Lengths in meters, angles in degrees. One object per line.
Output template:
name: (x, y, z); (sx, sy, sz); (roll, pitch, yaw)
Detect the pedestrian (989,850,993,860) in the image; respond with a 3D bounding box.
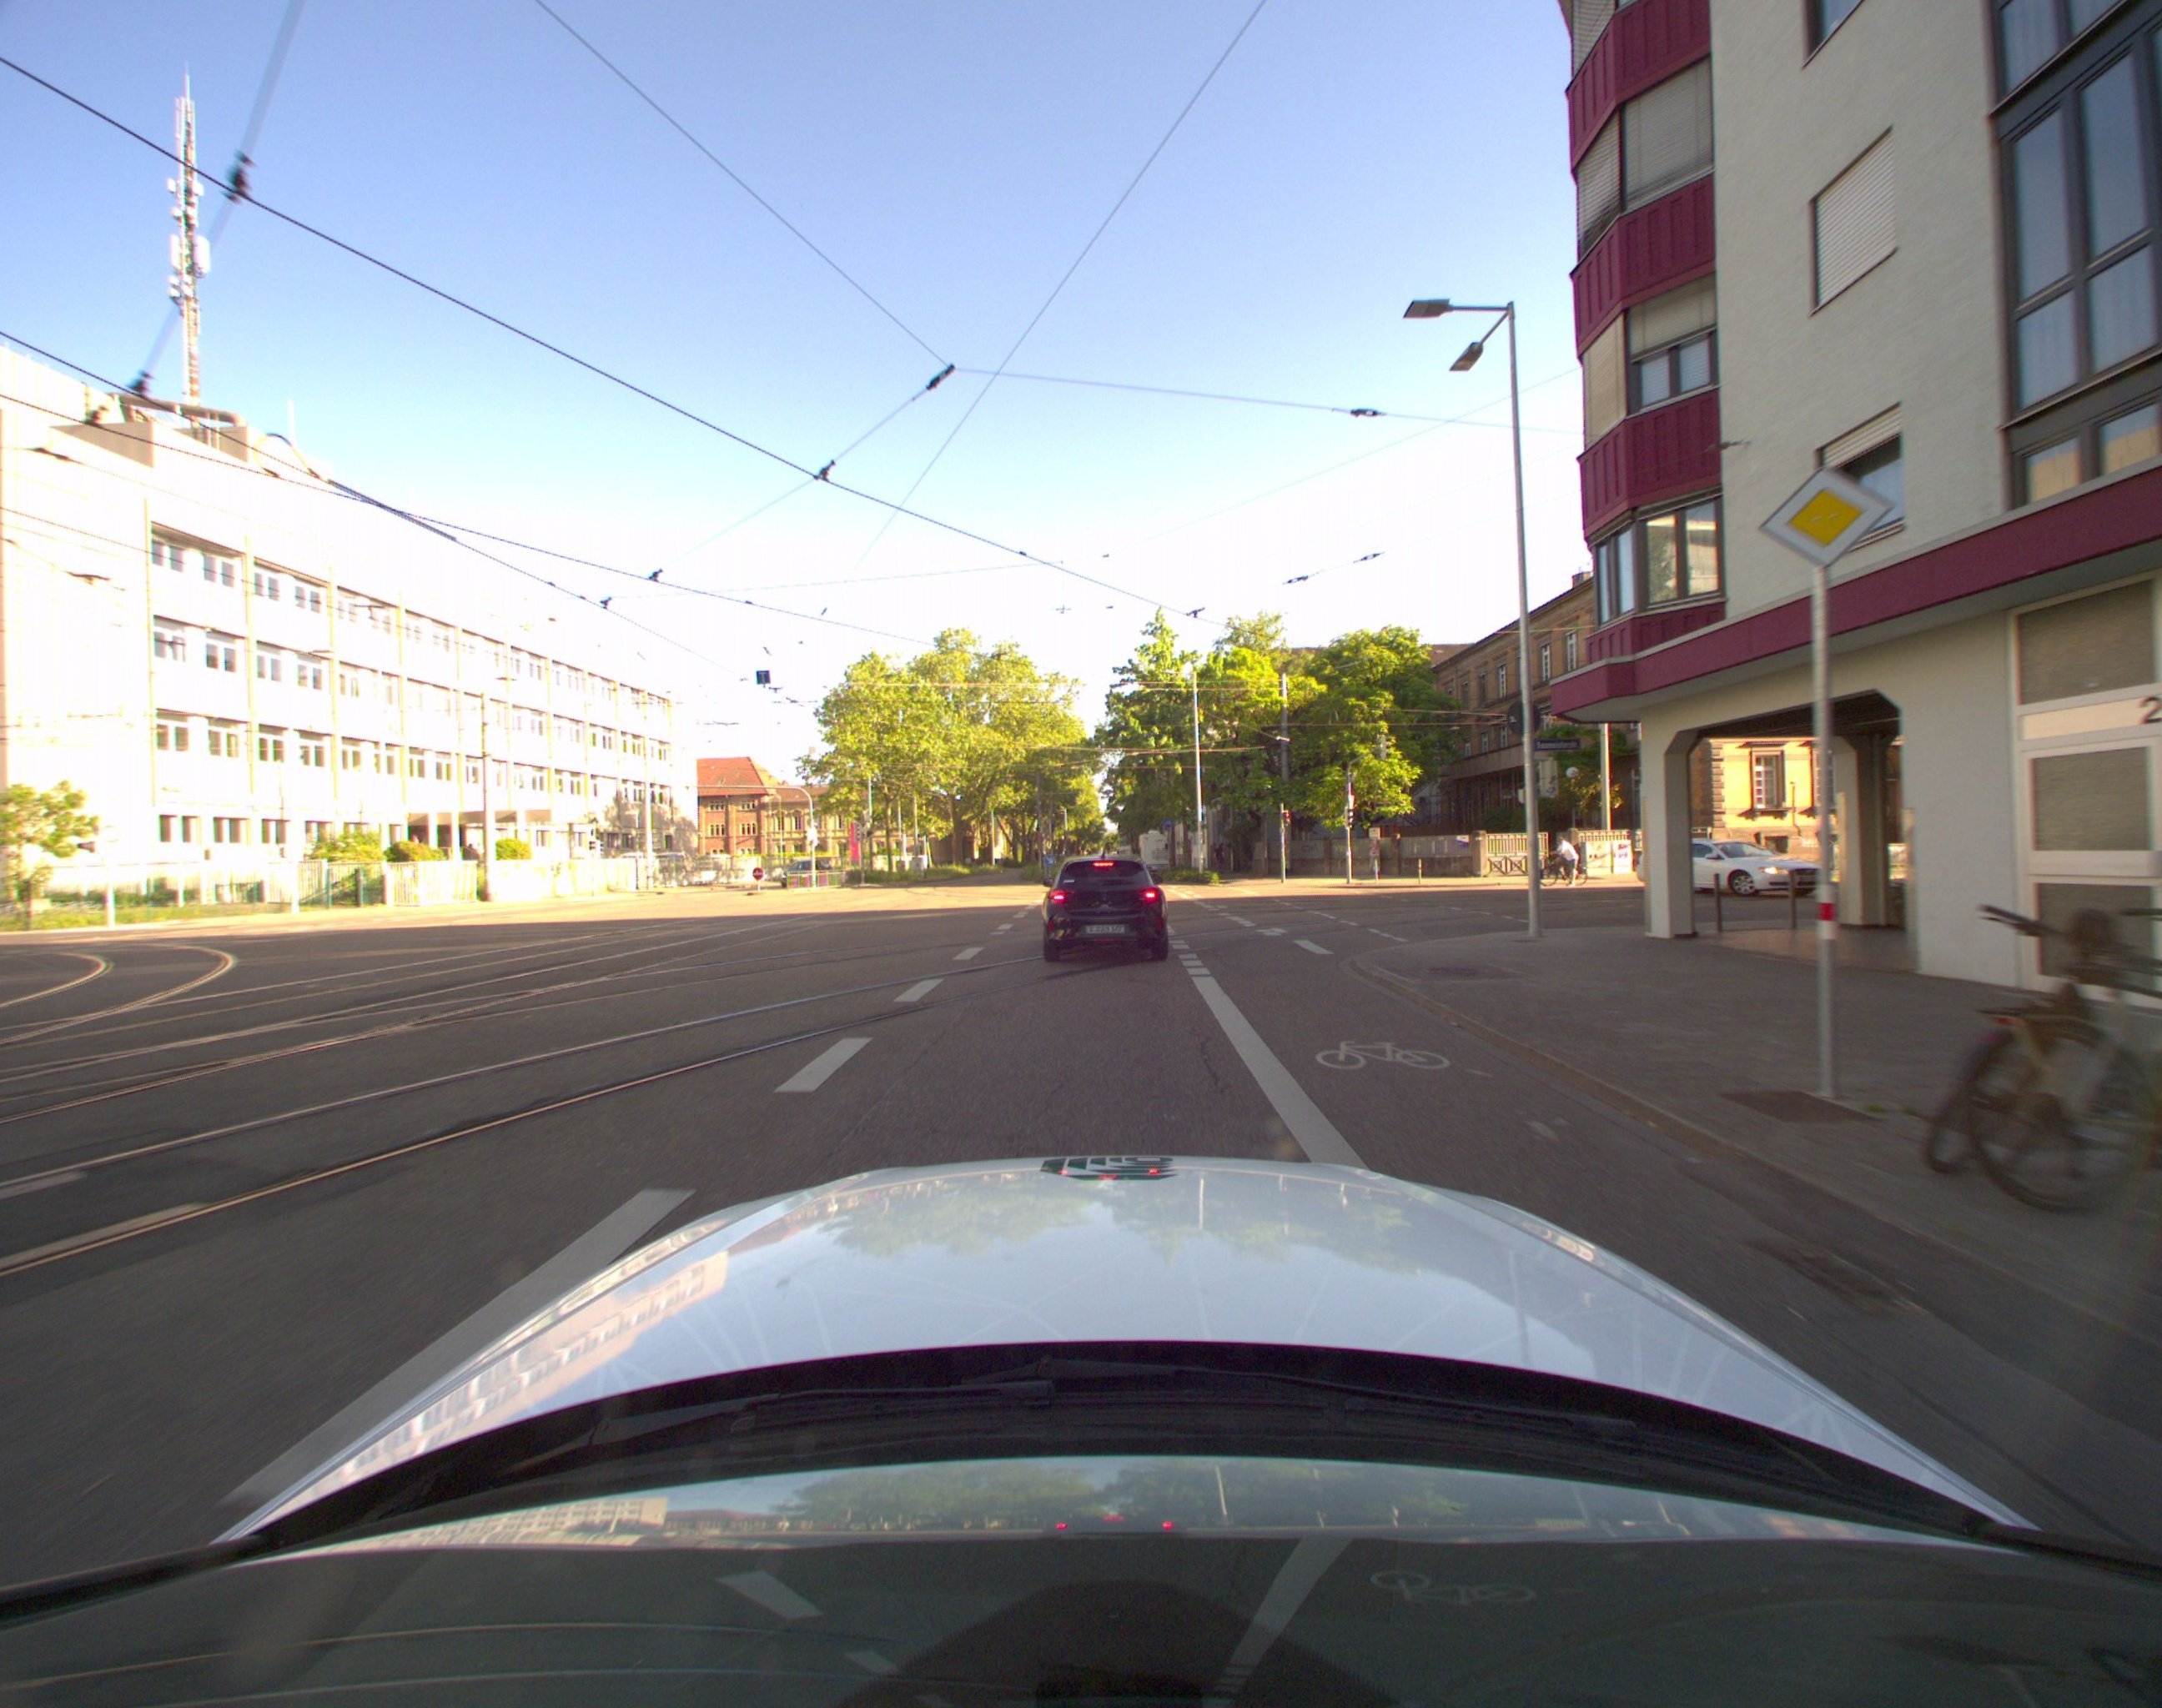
pedestrian: (-15.630, 0.195, 141.811); (0.616, 1.733, 0.596); (1, 0, 1)

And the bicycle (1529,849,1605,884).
bicycle: (17.261, 0.433, 28.968); (2.323, 1.119, 0.843); (-2, 1, -10)

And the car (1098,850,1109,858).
car: (4.156, 0.000, 150.926); (1.897, 1.425, 4.219); (-1, 1, 3)

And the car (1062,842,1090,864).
car: (-0.374, -0.092, 62.024); (1.986, 1.627, 4.472); (1, 1, 1)

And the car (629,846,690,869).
car: (-32.826, 0.245, 63.546); (1.983, 1.703, 4.387); (-2, 1, 7)

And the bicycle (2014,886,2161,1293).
bicycle: (4.069, 0.702, 2.531); (1.614, 1.199, 0.497); (-2, 0, 6)

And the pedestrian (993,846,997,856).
pedestrian: (-14.985, -0.523, 141.789); (0.656, 1.622, 0.616); (1, 0, 1)

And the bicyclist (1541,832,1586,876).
bicyclist: (17.118, -0.004, 28.928); (0.925, 1.509, 1.009); (-2, 1, -9)

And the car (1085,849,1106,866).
car: (1.366, 0.294, 77.257); (1.783, 1.510, 3.876); (-3, 0, 2)

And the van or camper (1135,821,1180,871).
van or camper: (5.312, -0.583, 57.651); (2.367, 3.125, 7.553); (-4, 0, 1)

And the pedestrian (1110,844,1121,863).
pedestrian: (3.645, -0.066, 86.035); (1.032, 2.024, 1.213); (-1, 0, 1)

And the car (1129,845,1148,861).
car: (5.996, -0.110, 84.619); (1.783, 1.510, 3.876); (-3, 0, 2)

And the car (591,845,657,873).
car: (-35.670, 0.338, 63.737); (1.983, 2.013, 4.734); (-2, 1, 7)

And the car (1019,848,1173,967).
car: (0.305, 0.662, 12.333); (1.897, 1.425, 4.219); (-1, 1, 3)

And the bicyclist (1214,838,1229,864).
bicyclist: (8.427, -0.193, 48.939); (0.742, 1.510, 0.705); (-1, 0, 19)

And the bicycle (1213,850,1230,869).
bicycle: (8.463, 0.340, 48.977); (0.634, 1.070, 1.960); (-1, 1, 19)

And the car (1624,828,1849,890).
car: (17.392, 0.082, 21.999); (1.847, 1.455, 4.890); (-2, 1, -6)

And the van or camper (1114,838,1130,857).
van or camper: (6.597, -0.997, 131.262); (2.476, 2.993, 5.439); (0, 0, 3)

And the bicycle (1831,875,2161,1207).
bicycle: (4.230, 0.699, 3.266); (1.792, 1.199, 0.546); (-2, -1, 6)

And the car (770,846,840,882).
car: (-16.157, 0.526, 47.952); (1.982, 1.947, 4.435); (-1, 1, 9)
